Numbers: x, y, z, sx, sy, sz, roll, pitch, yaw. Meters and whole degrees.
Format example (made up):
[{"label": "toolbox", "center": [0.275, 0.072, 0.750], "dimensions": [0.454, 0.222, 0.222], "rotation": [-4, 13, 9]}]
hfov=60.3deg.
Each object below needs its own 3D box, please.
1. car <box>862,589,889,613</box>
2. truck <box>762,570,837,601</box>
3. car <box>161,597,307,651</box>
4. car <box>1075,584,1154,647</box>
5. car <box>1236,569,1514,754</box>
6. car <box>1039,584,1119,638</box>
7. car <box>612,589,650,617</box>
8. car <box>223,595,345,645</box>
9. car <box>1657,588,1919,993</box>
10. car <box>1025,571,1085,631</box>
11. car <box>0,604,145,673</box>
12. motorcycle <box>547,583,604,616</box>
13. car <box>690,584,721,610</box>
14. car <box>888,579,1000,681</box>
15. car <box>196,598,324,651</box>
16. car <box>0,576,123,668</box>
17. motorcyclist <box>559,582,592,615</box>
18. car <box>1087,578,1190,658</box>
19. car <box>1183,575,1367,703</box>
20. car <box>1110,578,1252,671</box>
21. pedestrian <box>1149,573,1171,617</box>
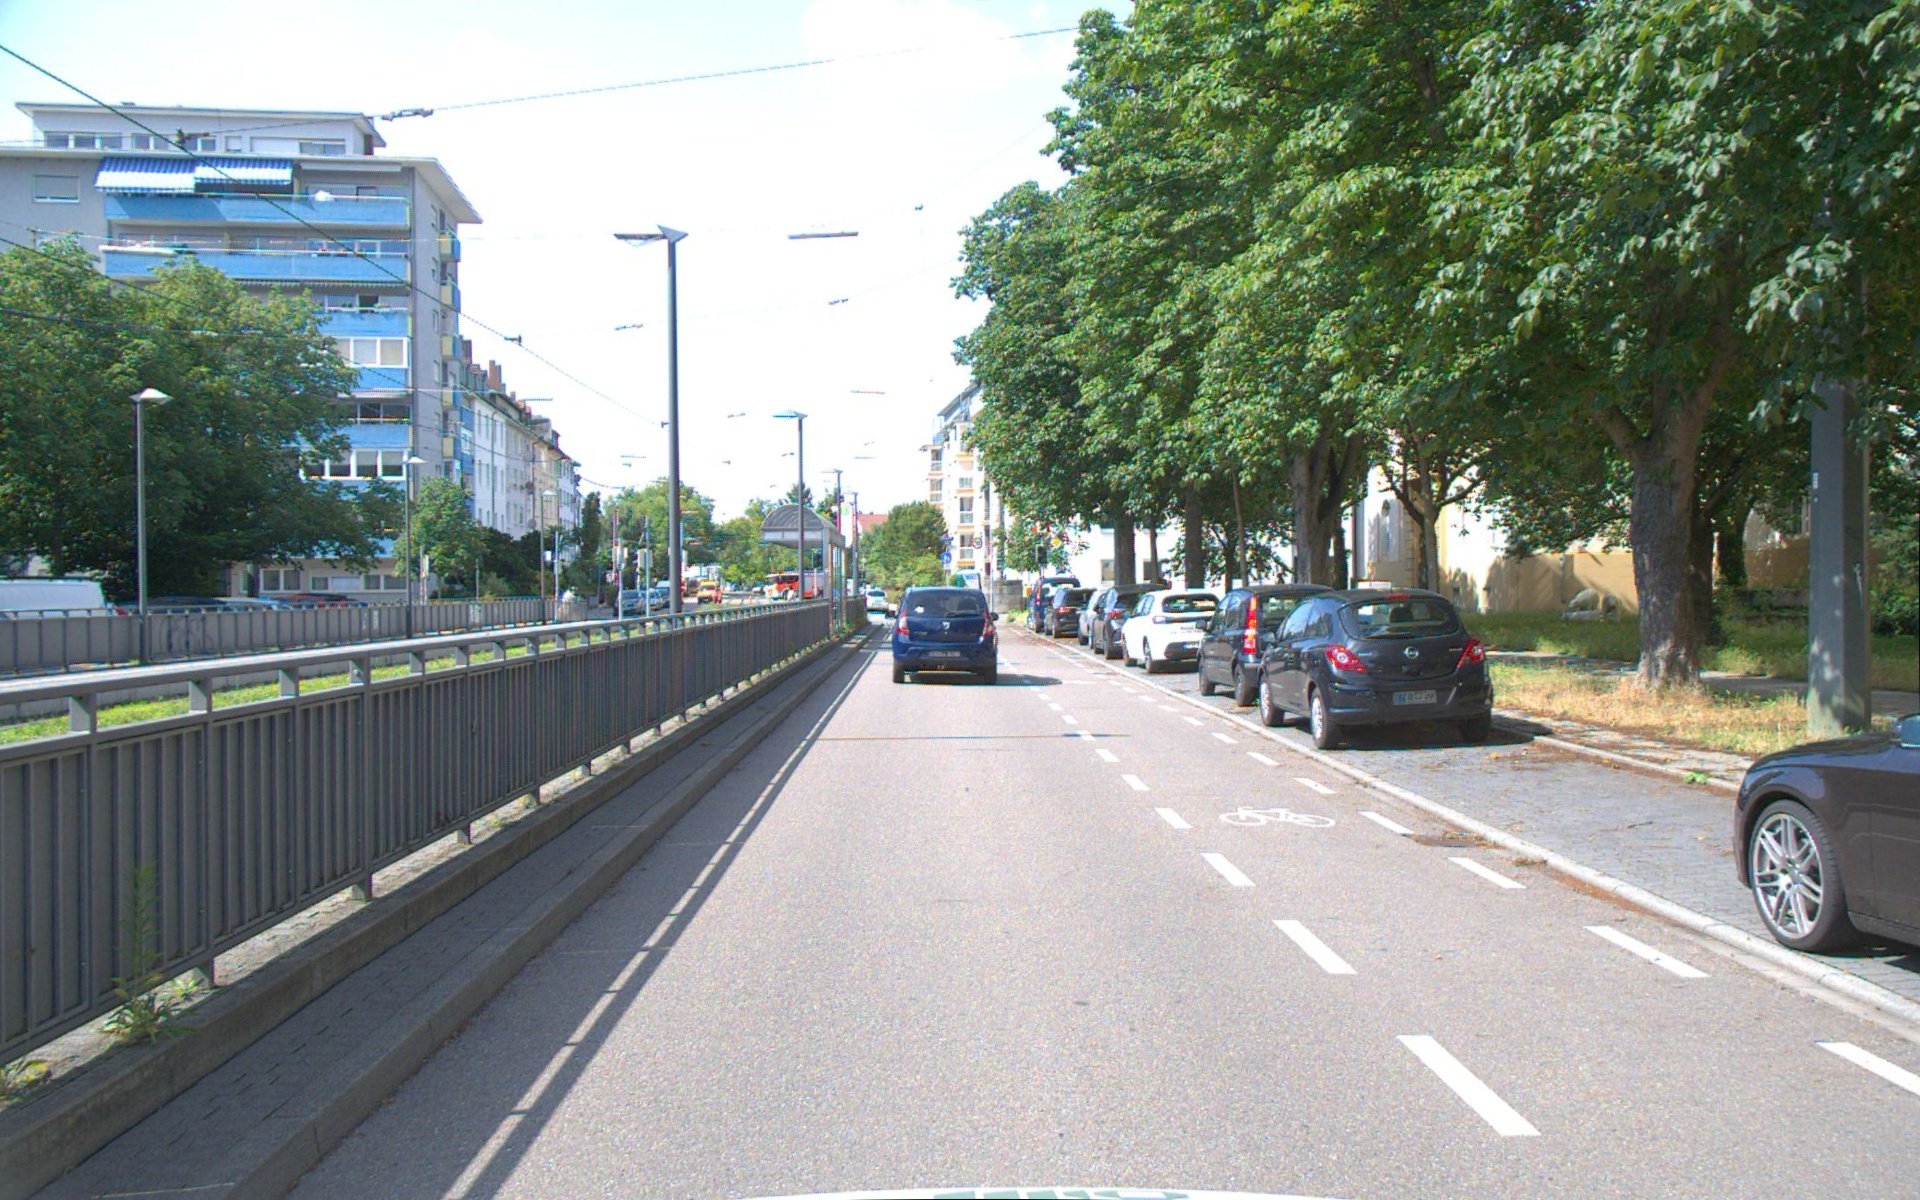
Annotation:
[{"label": "car", "center": [-5.438, 0.071, 106.331], "dimensions": [1.591, 1.490, 3.506], "rotation": [1, 0, -6]}, {"label": "truck", "center": [-18.246, -1.658, 188.323], "dimensions": [8.298, 3.241, 2.569], "rotation": [-3, 0, -38]}, {"label": "car", "center": [-22.414, 0.721, 51.078], "dimensions": [3.975, 1.540, 1.592], "rotation": [-1, 0, -32]}, {"label": "car", "center": [3.903, 0.370, 42.287], "dimensions": [1.558, 1.470, 3.597], "rotation": [-2, 0, -1]}, {"label": "car", "center": [4.177, 0.544, 17.344], "dimensions": [1.657, 1.588, 4.306], "rotation": [-4, 1, -1]}, {"label": "car", "center": [3.634, 0.292, 51.283], "dimensions": [1.879, 1.467, 4.794], "rotation": [-3, 1, -3]}, {"label": "car", "center": [-20.976, 0.190, 105.572], "dimensions": [1.955, 1.674, 3.996], "rotation": [1, 0, -5]}, {"label": "car", "center": [-22.940, 0.660, 56.148], "dimensions": [3.620, 1.606, 1.631], "rotation": [-1, 1, -33]}, {"label": "car", "center": [4.535, 0.687, 5.755], "dimensions": [1.796, 1.492, 4.826], "rotation": [-3, 0, -5]}, {"label": "car", "center": [3.221, 0.005, 56.628], "dimensions": [1.785, 1.929, 4.184], "rotation": [-2, 1, 0]}, {"label": "car", "center": [-22.965, 0.951, 42.018], "dimensions": [3.903, 1.606, 1.699], "rotation": [-1, 1, -34]}, {"label": "motorcycle", "center": [-16.368, -0.038, 70.473], "dimensions": [0.995, 1.362, 2.514], "rotation": [-1, 1, 27]}, {"label": "car", "center": [-25.223, -0.277, 163.591], "dimensions": [1.965, 2.315, 4.805], "rotation": [4, 0, -21]}, {"label": "car", "center": [-0.310, 0.469, 27.431], "dimensions": [1.709, 1.533, 3.998], "rotation": [1, 0, -2]}, {"label": "car", "center": [-22.713, 0.767, 53.673], "dimensions": [3.620, 1.606, 1.631], "rotation": [-1, 1, -33]}, {"label": "car", "center": [-22.269, 0.503, 39.472], "dimensions": [3.902, 2.106, 2.027], "rotation": [-1, 1, -33]}, {"label": "motorcyclist", "center": [-16.374, -0.060, 70.452], "dimensions": [0.920, 1.362, 0.985], "rotation": [-1, 0, 28]}, {"label": "car", "center": [3.901, 0.350, 36.874], "dimensions": [1.690, 1.611, 4.676], "rotation": [-2, 1, -1]}, {"label": "car", "center": [4.204, 0.502, 22.542], "dimensions": [1.525, 1.486, 3.555], "rotation": [-4, 0, -4]}, {"label": "car", "center": [4.085, 0.416, 31.279], "dimensions": [1.799, 1.550, 4.250], "rotation": [-3, 0, -4]}, {"label": "pedestrian", "center": [7.971, -0.214, 66.014], "dimensions": [0.729, 1.726, 0.767], "rotation": [-1, 0, -1]}]
